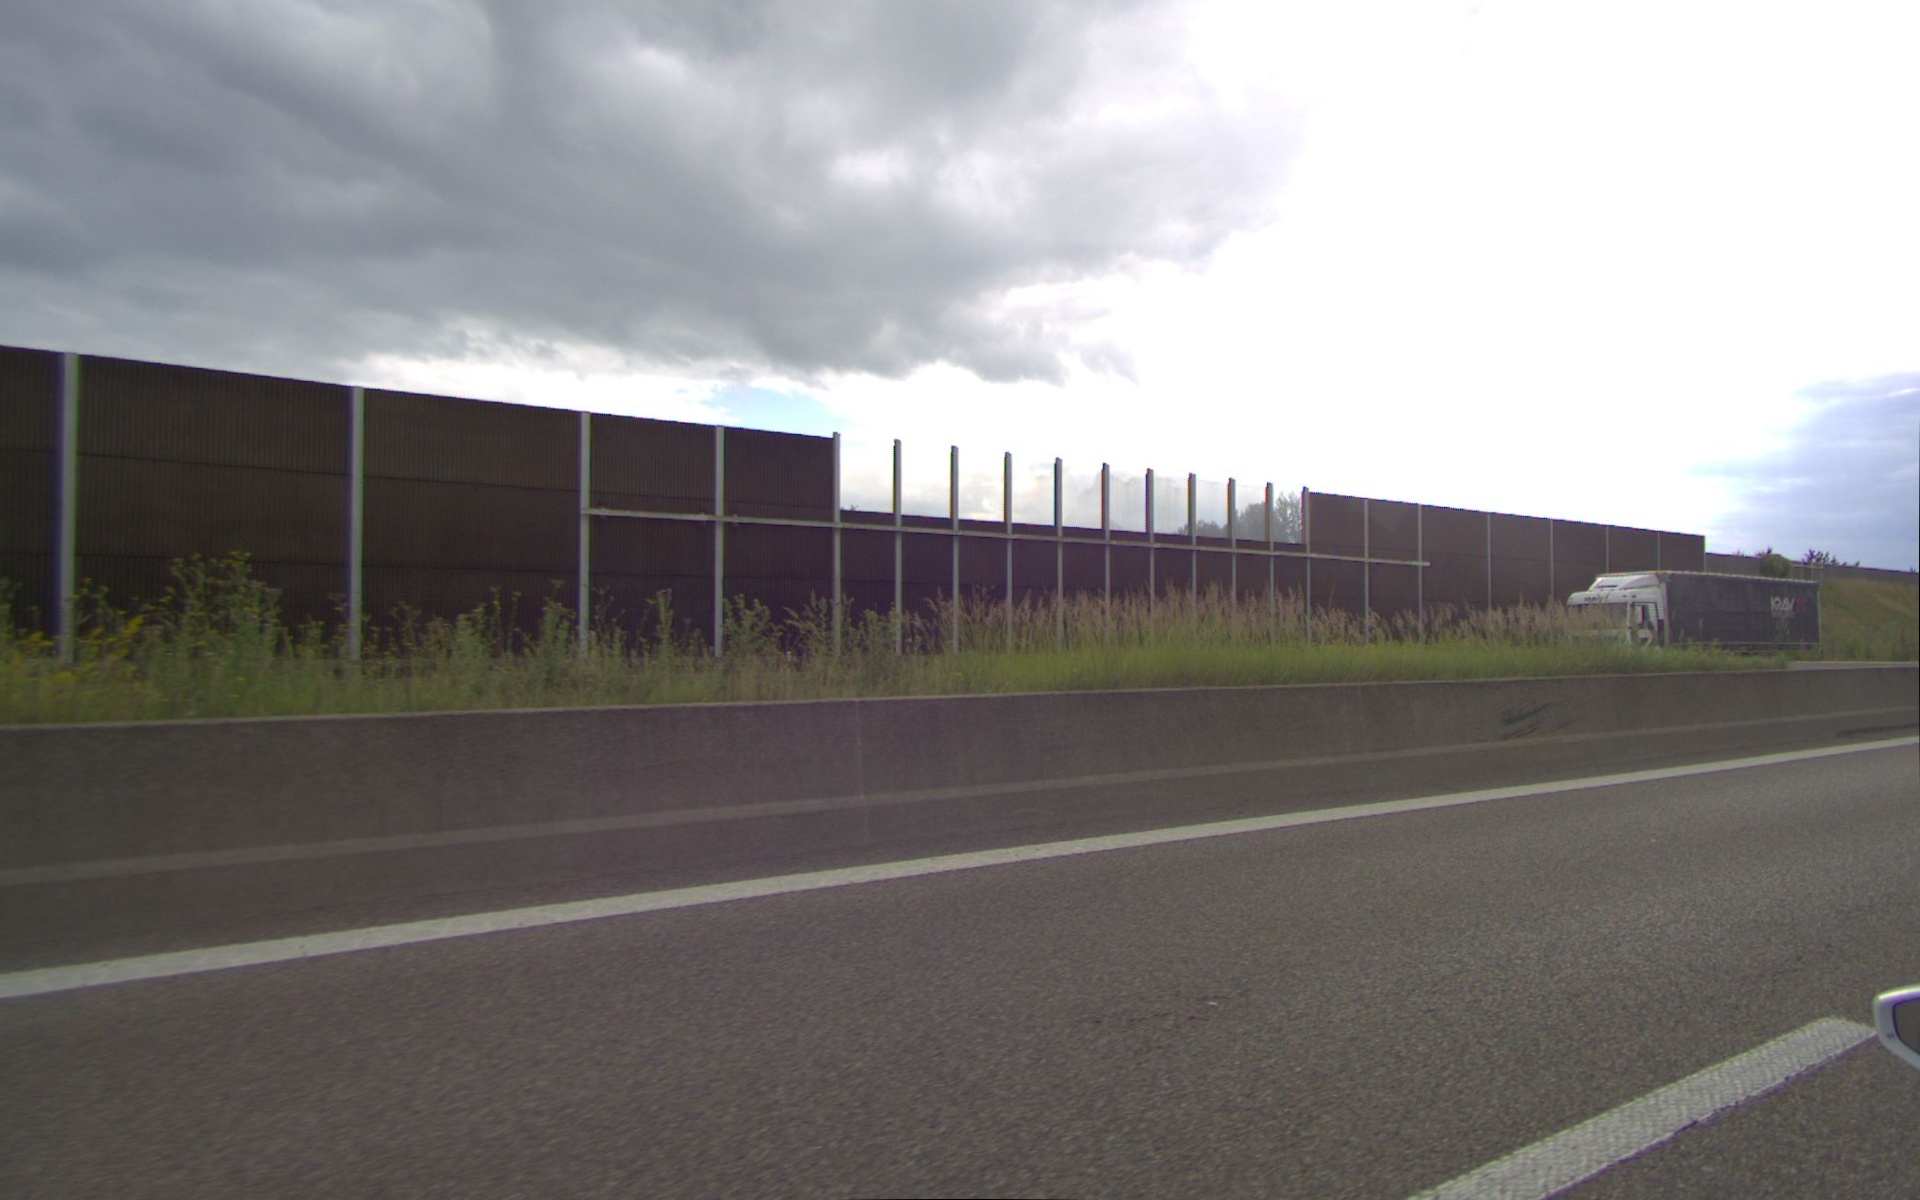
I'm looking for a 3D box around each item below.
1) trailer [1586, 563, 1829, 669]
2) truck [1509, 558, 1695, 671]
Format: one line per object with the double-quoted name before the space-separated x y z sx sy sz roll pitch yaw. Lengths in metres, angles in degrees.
"trailer" 32.136 0.692 42.946 12.528 4.033 3.654 1 0 -30
"truck" 24.650 0.530 38.569 5.942 4.000 3.650 1 0 -30
